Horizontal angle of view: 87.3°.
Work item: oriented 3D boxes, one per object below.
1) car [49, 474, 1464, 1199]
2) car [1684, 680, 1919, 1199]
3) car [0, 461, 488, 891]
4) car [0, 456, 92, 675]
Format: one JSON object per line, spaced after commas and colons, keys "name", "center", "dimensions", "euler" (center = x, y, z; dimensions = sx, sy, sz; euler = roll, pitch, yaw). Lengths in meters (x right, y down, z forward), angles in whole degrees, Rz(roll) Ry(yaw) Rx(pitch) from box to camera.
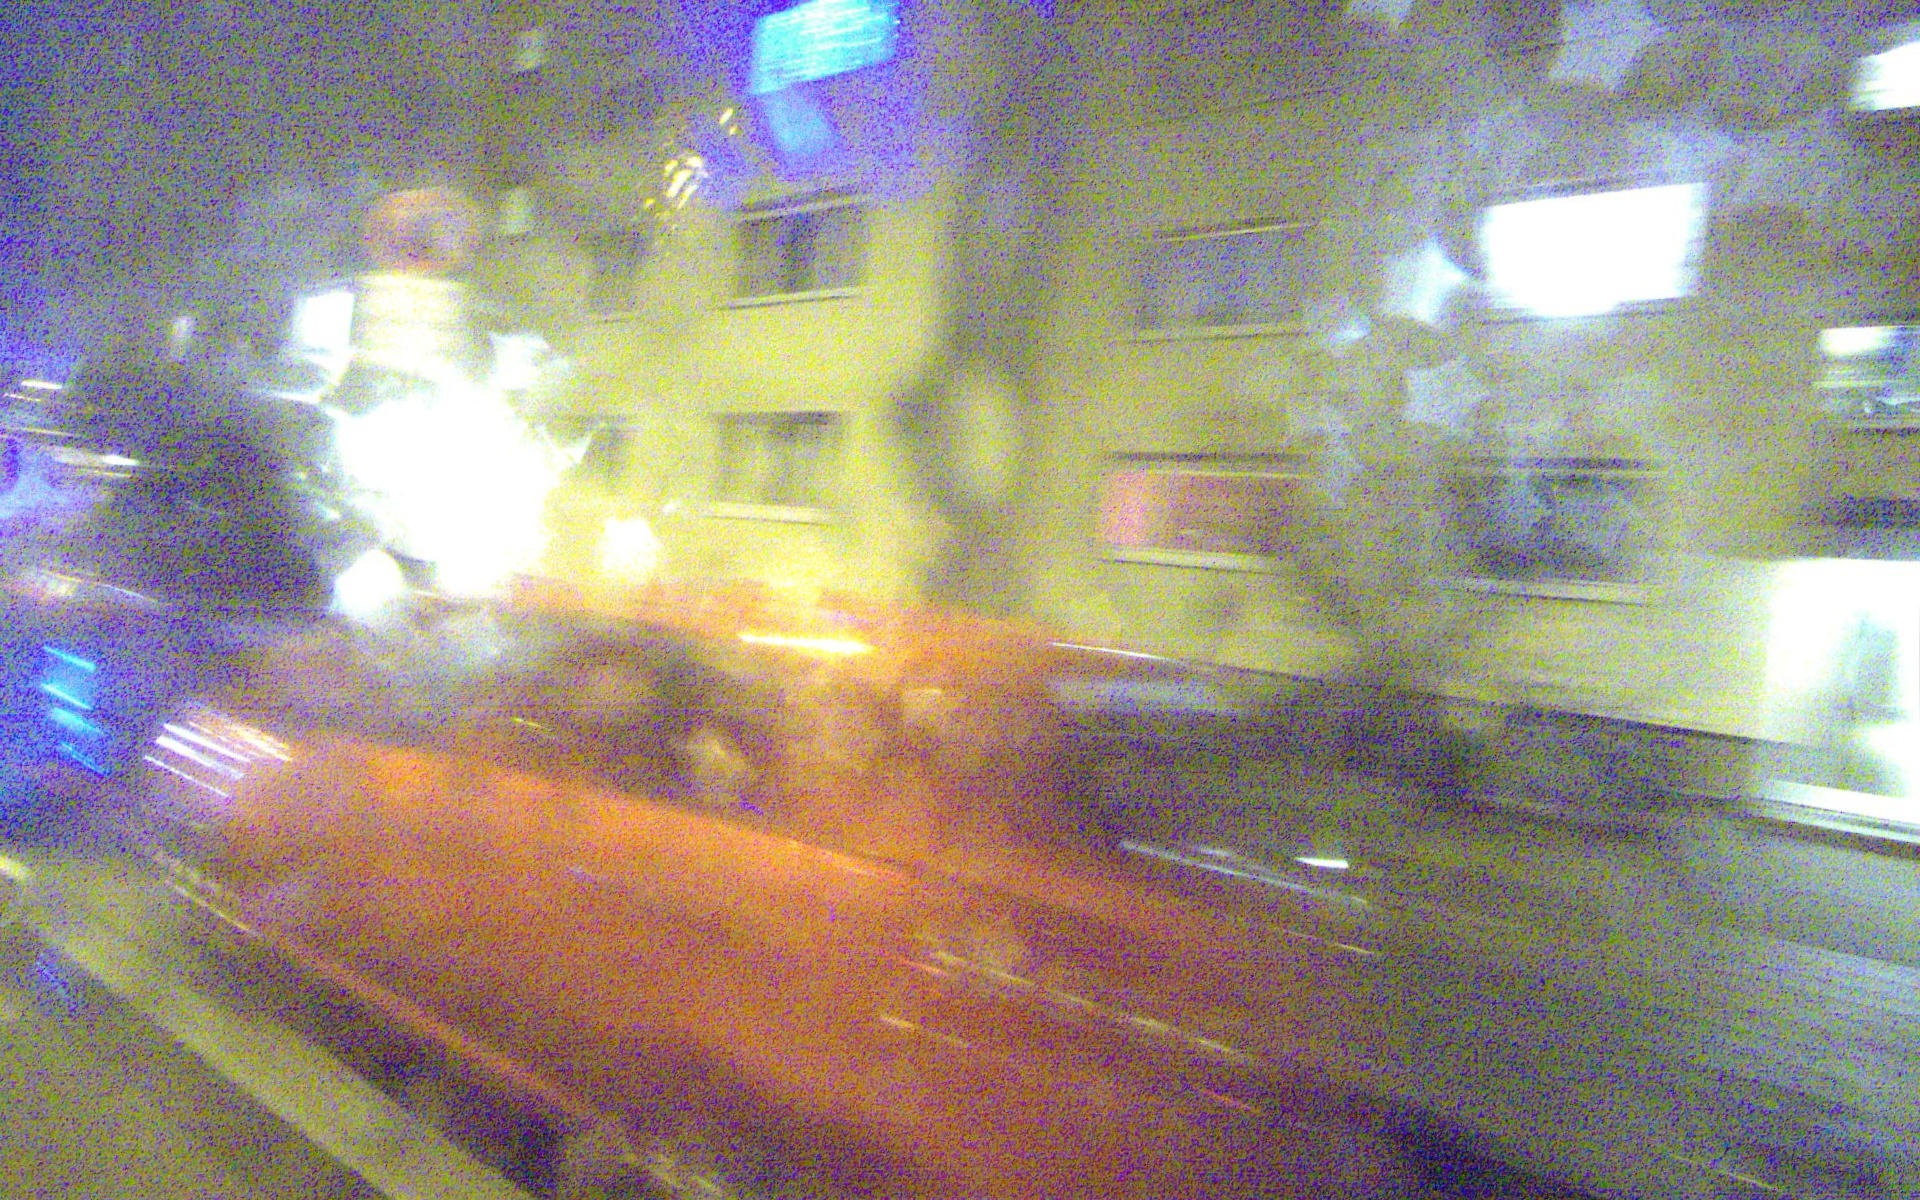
{"name": "car", "center": [-0.971, 0.604, 3.200], "dimensions": [4.282, 1.568, 1.824], "euler": [8, 3, 34]}
{"name": "car", "center": [3.459, 1.217, 0.438], "dimensions": [4.895, 1.568, 1.754], "euler": [8, 3, 33]}
{"name": "car", "center": [-5.061, 0.038, 5.663], "dimensions": [4.966, 1.551, 1.800], "euler": [8, 2, 31]}
{"name": "car", "center": [-9.331, -0.518, 8.382], "dimensions": [4.412, 1.659, 1.823], "euler": [8, 3, 30]}
